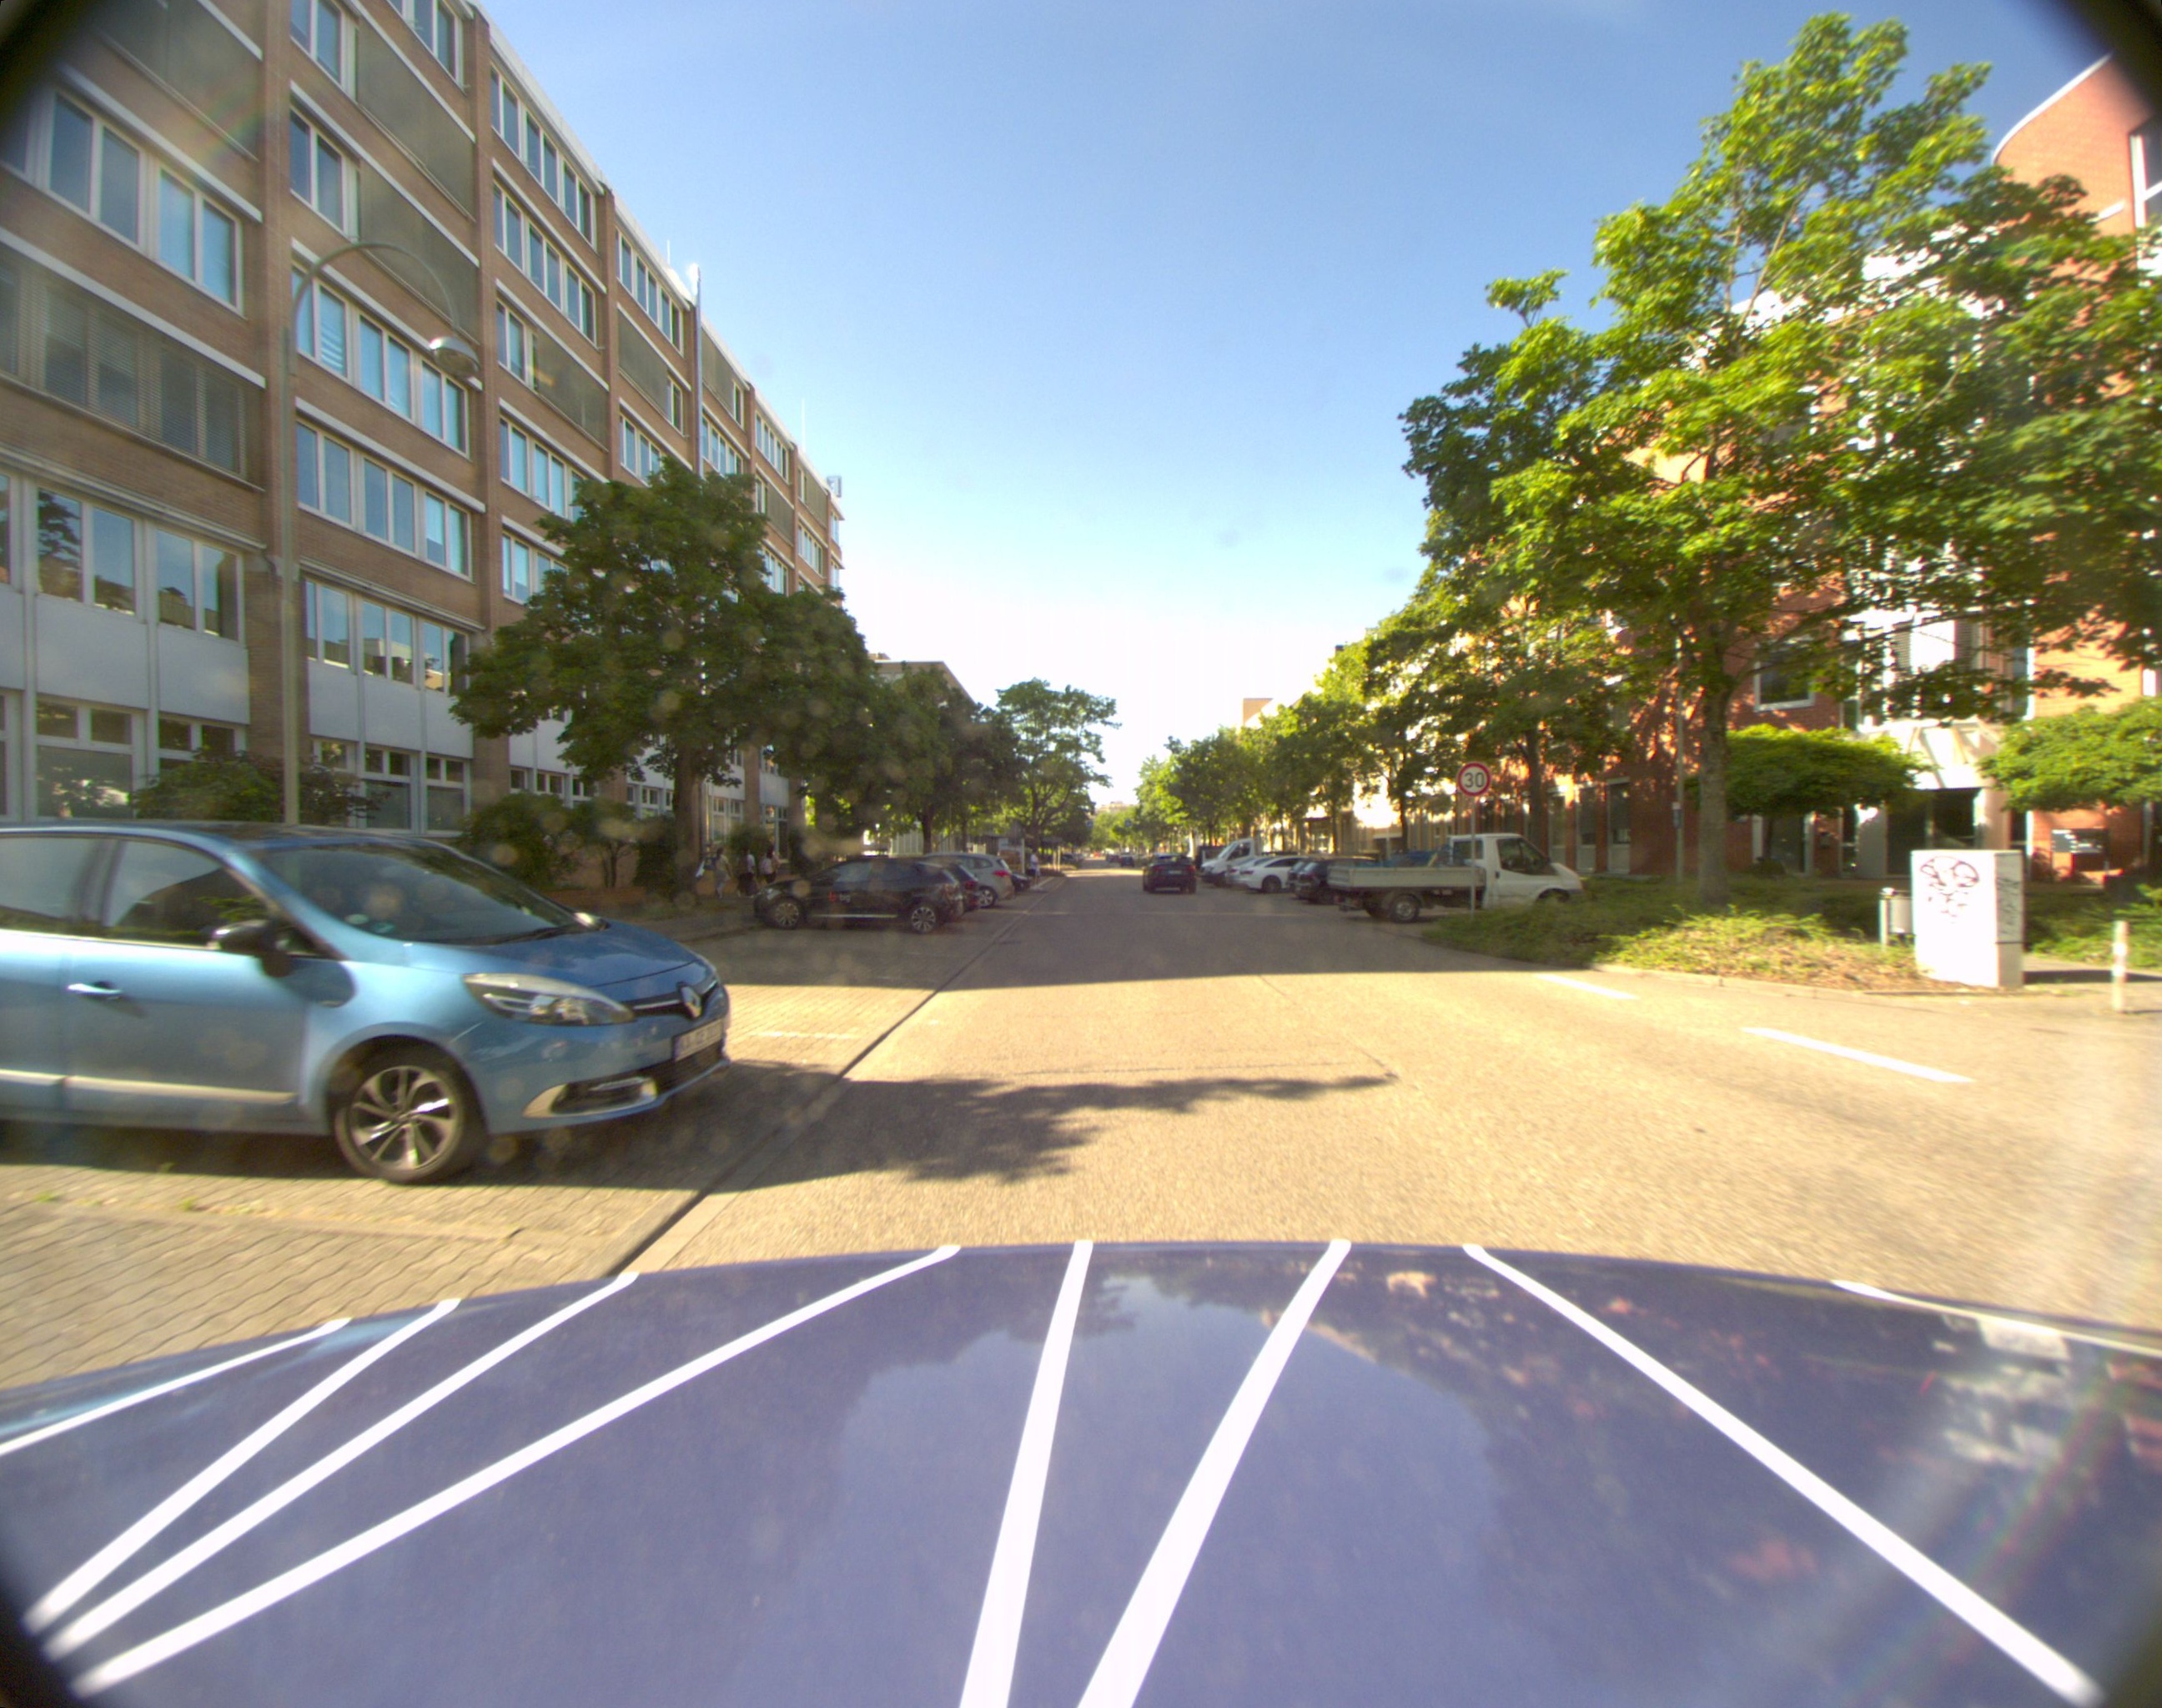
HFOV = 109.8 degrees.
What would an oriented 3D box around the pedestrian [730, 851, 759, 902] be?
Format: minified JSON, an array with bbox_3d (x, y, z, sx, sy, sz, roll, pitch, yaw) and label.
[{"bbox_3d":[-10.178,0.672,22.999,0.604,1.512,0.594,0,1,-2],"label":"pedestrian"}]

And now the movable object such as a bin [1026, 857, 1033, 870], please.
[{"bbox_3d":[-3.018,0.549,44.516,0.299,0.749,0.467,2,1,1],"label":"movable object such as a bin"}]

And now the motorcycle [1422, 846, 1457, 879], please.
[{"bbox_3d":[17.753,0.395,37.717,0.716,1.582,2.109,0,1,-1],"label":"motorcycle"}]

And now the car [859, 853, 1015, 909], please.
[{"bbox_3d":[-4.169,0.774,22.616,4.365,1.588,1.938,0,0,-5],"label":"car"}]

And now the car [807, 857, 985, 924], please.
[{"bbox_3d":[-4.249,0.833,17.909,3.811,1.400,1.701,2,0,-4],"label":"car"}]

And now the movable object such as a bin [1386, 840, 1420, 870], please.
[{"bbox_3d":[18.136,0.056,42.794,1.149,1.610,1.440,-1,1,-11],"label":"movable object such as a bin"}]

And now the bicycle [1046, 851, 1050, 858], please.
[{"bbox_3d":[-5.092,0.036,117.587,0.535,1.072,1.920,0,1,2],"label":"bicycle"}]

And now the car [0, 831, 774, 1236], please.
[{"bbox_3d":[-4.329,0.753,4.223,4.416,1.609,1.912,2,1,0],"label":"car"}]

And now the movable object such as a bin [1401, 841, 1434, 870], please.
[{"bbox_3d":[18.376,0.097,41.502,1.149,1.554,1.243,-1,1,-11],"label":"movable object such as a bin"}]

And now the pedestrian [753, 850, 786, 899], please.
[{"bbox_3d":[-9.349,0.592,22.820,0.702,1.449,0.715,0,1,-2],"label":"pedestrian"}]

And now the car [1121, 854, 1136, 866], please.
[{"bbox_3d":[5.988,0.748,95.416,1.648,1.412,4.000,0,0,1],"label":"car"}]

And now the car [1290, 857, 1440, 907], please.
[{"bbox_3d":[8.709,0.831,23.564,3.995,1.427,1.790,-1,1,5],"label":"car"}]

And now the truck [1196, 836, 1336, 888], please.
[{"bbox_3d":[8.842,0.355,36.781,6.247,2.408,2.187,0,0,1],"label":"truck"}]

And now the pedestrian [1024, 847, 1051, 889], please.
[{"bbox_3d":[-1.801,0.580,31.441,0.921,1.701,0.697,3,0,-12],"label":"pedestrian"}]

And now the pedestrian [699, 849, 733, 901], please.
[{"bbox_3d":[-11.068,0.633,23.054,0.758,1.543,0.559,0,1,-2],"label":"pedestrian"}]

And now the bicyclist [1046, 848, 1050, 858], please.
[{"bbox_3d":[-5.102,-0.135,117.574,0.538,1.627,0.822,0,1,2],"label":"bicyclist"}]

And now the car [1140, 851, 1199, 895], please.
[{"bbox_3d":[3.584,0.712,31.478,1.897,1.674,4.352,0,0,-1],"label":"car"}]

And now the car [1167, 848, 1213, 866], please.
[{"bbox_3d":[9.601,0.263,66.857,3.764,1.444,1.754,-3,1,0],"label":"car"}]

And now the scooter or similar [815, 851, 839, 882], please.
[{"bbox_3d":[-11.392,0.563,34.140,0.550,1.318,1.805,-2,1,-4],"label":"scooter or similar"}]

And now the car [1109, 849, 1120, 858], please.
[{"bbox_3d":[5.889,-0.043,132.304,1.784,1.503,4.000,-1,1,1],"label":"car"}]

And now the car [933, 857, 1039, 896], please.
[{"bbox_3d":[-3.661,0.861,29.876,3.945,1.431,1.774,0,0,-1],"label":"car"}]

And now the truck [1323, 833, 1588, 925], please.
[{"bbox_3d":[8.355,0.527,17.379,4.996,1.948,2.139,0,0,3],"label":"truck"}]

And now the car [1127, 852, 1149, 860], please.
[{"bbox_3d":[11.039,0.290,146.913,4.003,1.411,1.618,-2,1,0],"label":"car"}]

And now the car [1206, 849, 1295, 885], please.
[{"bbox_3d":[8.726,0.643,39.460,4.118,1.652,1.999,-2,1,-1],"label":"car"}]

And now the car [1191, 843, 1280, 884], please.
[{"bbox_3d":[8.534,0.487,42.253,4.493,2.040,1.999,-2,1,-1],"label":"car"}]

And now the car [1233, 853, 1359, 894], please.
[{"bbox_3d":[8.655,0.771,30.868,4.553,1.433,1.890,-2,0,-1],"label":"car"}]

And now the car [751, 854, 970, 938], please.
[{"bbox_3d":[-4.297,0.798,15.292,3.857,1.475,1.824,2,0,-3],"label":"car"}]

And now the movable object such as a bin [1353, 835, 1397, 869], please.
[{"bbox_3d":[18.047,-0.130,46.706,1.663,1.605,1.784,17,0,0],"label":"movable object such as a bin"}]

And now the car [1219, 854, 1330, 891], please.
[{"bbox_3d":[8.575,0.793,33.972,4.438,1.478,2.000,-2,1,-1],"label":"car"}]

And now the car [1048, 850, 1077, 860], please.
[{"bbox_3d":[-2.701,0.168,108.877,4.126,1.363,1.654,1,1,-3],"label":"car"}]

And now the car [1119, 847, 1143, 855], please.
[{"bbox_3d":[11.131,-0.691,169.307,5.317,1.876,2.000,0,1,2],"label":"car"}]
